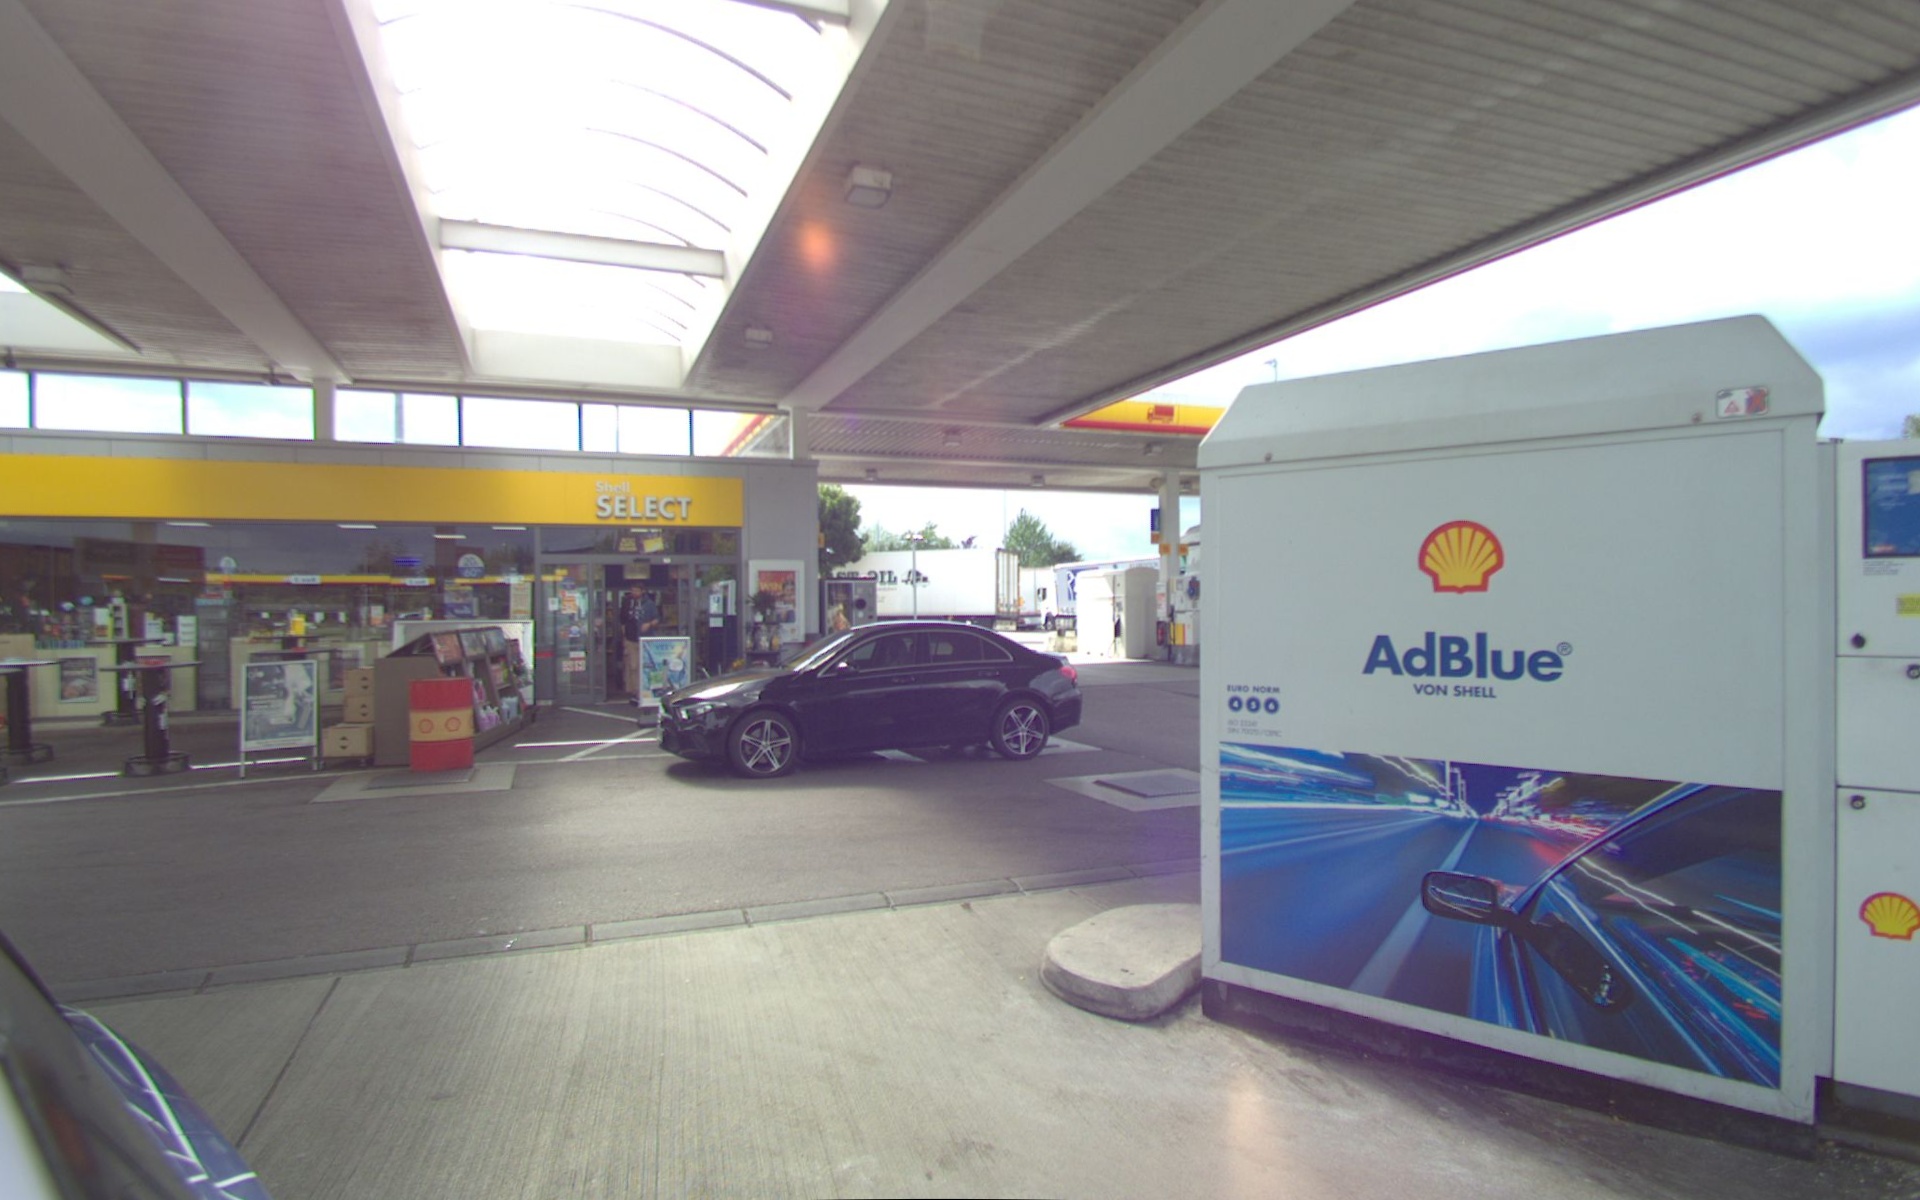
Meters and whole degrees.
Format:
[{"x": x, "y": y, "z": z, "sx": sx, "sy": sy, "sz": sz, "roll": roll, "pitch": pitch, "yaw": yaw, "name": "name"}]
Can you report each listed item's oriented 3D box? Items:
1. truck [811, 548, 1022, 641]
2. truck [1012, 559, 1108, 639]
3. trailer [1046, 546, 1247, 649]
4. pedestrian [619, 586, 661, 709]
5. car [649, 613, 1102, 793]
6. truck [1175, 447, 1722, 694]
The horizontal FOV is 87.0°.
[{"x": -2.102, "y": -0.185, "z": 46.863, "sx": 9.536, "sy": 4.036, "sz": 2.772, "roll": -1, "pitch": 0, "yaw": 25, "name": "truck"}, {"x": 5.929, "y": -0.053, "z": 61.245, "sx": 3.333, "sy": 4.538, "sz": 6.249, "roll": -1, "pitch": 0, "yaw": -20, "name": "truck"}, {"x": 9.106, "y": -0.103, "z": 52.697, "sx": 3.294, "sy": 4.600, "sz": 14.397, "roll": -1, "pitch": 0, "yaw": -20, "name": "trailer"}, {"x": -5.101, "y": 0.737, "z": 16.133, "sx": 0.571, "sy": 1.920, "sz": 0.511, "roll": -1, "pitch": 0, "yaw": -22, "name": "pedestrian"}, {"x": -0.895, "y": 0.939, "z": 10.653, "sx": 4.394, "sy": 1.511, "sz": 1.785, "roll": -1, "pitch": 0, "yaw": -21, "name": "car"}, {"x": 9.657, "y": -0.466, "z": 23.125, "sx": 2.491, "sy": 4.069, "sz": 12.947, "roll": -1, "pitch": 0, "yaw": -22, "name": "truck"}]
